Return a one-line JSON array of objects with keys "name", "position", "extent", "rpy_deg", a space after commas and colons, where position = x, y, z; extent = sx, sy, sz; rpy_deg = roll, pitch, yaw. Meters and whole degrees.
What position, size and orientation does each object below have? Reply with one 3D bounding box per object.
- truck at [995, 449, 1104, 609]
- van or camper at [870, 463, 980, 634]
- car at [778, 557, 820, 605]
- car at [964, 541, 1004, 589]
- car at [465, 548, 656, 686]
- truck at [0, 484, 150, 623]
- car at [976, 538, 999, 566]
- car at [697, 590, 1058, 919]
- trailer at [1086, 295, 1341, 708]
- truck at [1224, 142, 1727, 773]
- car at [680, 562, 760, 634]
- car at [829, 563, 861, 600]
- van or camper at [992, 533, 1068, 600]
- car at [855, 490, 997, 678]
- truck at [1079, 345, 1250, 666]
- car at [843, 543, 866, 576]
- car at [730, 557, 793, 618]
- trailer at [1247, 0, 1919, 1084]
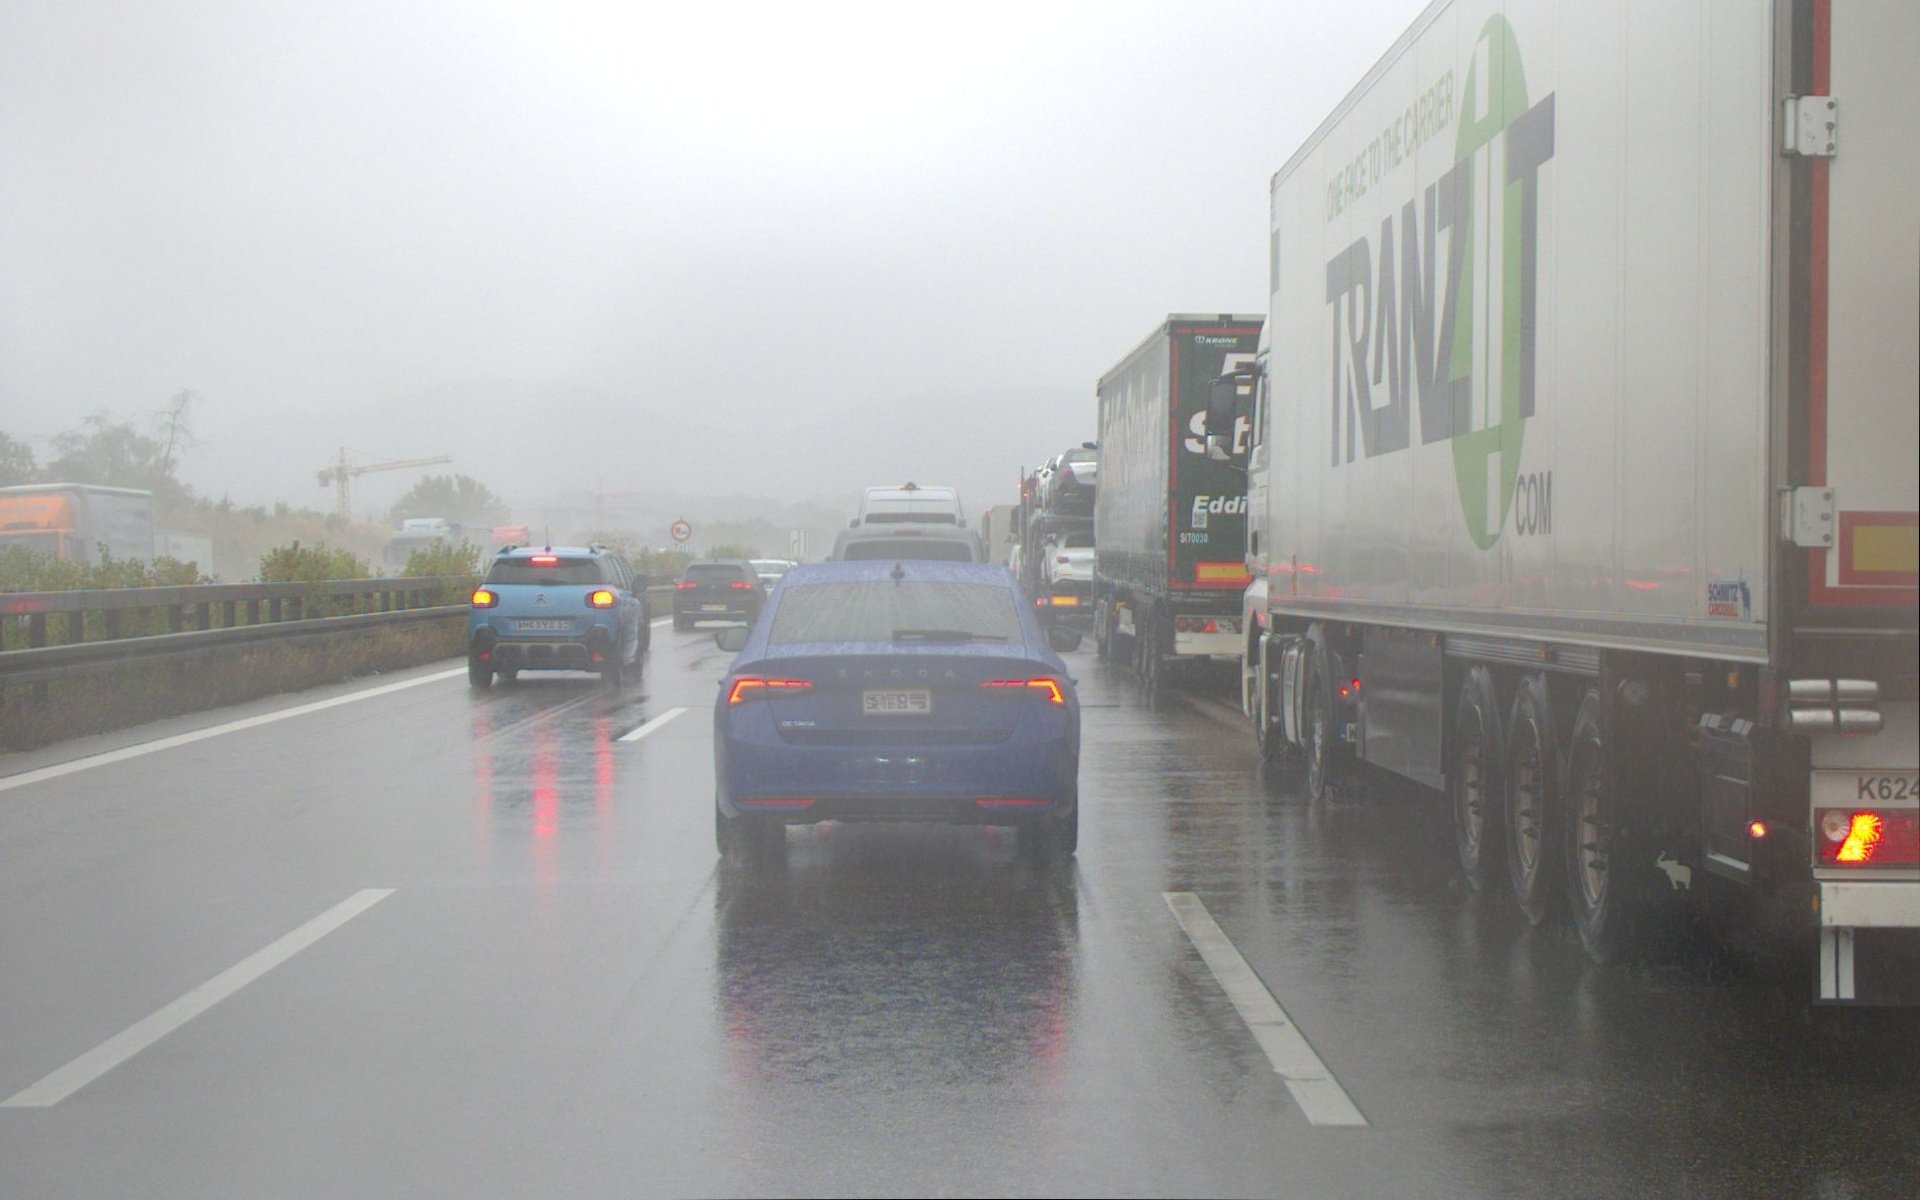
[{"name": "truck", "position": [1.954, -1.629, 77.410], "extent": [1.993, 3.410, 8.033], "rpy_deg": [0, 2, -2]}, {"name": "van or camper", "position": [-0.594, -0.890, 58.630], "extent": [1.797, 2.797, 4.768], "rpy_deg": [0, 1, 0]}, {"name": "car", "position": [-6.115, -0.736, 131.098], "extent": [1.448, 1.777, 3.409], "rpy_deg": [0, 1, 0]}, {"name": "car", "position": [0.900, -1.316, 128.850], "extent": [1.448, 1.777, 3.409], "rpy_deg": [0, 1, 0]}, {"name": "car", "position": [-4.585, 0.158, 39.937], "extent": [1.722, 1.518, 4.000], "rpy_deg": [0, 1, 1]}, {"name": "truck", "position": [-22.671, -1.221, 85.859], "extent": [2.925, 3.270, 9.256], "rpy_deg": [0, 2, -2]}, {"name": "car", "position": [1.764, -3.089, 220.850], "extent": [1.448, 1.777, 3.409], "rpy_deg": [0, 1, 0]}, {"name": "car", "position": [-0.365, 0.695, 17.579], "extent": [1.635, 1.440, 4.000], "rpy_deg": [0, 1, 0]}, {"name": "trailer", "position": [2.763, -1.113, 40.370], "extent": [2.047, 4.162, 11.449], "rpy_deg": [0, 1, 0]}, {"name": "truck", "position": [3.300, -0.908, 23.192], "extent": [2.630, 3.814, 4.791], "rpy_deg": [0, 1, 0]}, {"name": "car", "position": [-4.949, -0.065, 71.123], "extent": [1.439, 1.415, 3.322], "rpy_deg": [0, 1, 0]}, {"name": "car", "position": [-5.536, -0.917, 166.364], "extent": [1.448, 1.777, 3.409], "rpy_deg": [0, 1, 0]}, {"name": "van or camper", "position": [1.755, -0.876, 87.216], "extent": [1.771, 1.619, 4.484], "rpy_deg": [0, 2, -1]}, {"name": "car", "position": [-0.334, -0.184, 34.087], "extent": [1.336, 1.773, 3.322], "rpy_deg": [0, 1, 0]}, {"name": "truck", "position": [2.732, -1.274, 46.745], "extent": [2.047, 4.178, 4.000], "rpy_deg": [0, 1, 0]}, {"name": "car", "position": [-5.738, -2.228, 186.899], "extent": [1.192, 1.744, 3.076], "rpy_deg": [0, 2, -1]}, {"name": "car", "position": [-5.079, -0.335, 88.140], "extent": [1.439, 1.528, 3.322], "rpy_deg": [0, 1, 0]}, {"name": "trailer", "position": [3.359, -0.865, 16.449], "extent": [2.630, 3.999, 14.630], "rpy_deg": [0, 1, 0]}]
